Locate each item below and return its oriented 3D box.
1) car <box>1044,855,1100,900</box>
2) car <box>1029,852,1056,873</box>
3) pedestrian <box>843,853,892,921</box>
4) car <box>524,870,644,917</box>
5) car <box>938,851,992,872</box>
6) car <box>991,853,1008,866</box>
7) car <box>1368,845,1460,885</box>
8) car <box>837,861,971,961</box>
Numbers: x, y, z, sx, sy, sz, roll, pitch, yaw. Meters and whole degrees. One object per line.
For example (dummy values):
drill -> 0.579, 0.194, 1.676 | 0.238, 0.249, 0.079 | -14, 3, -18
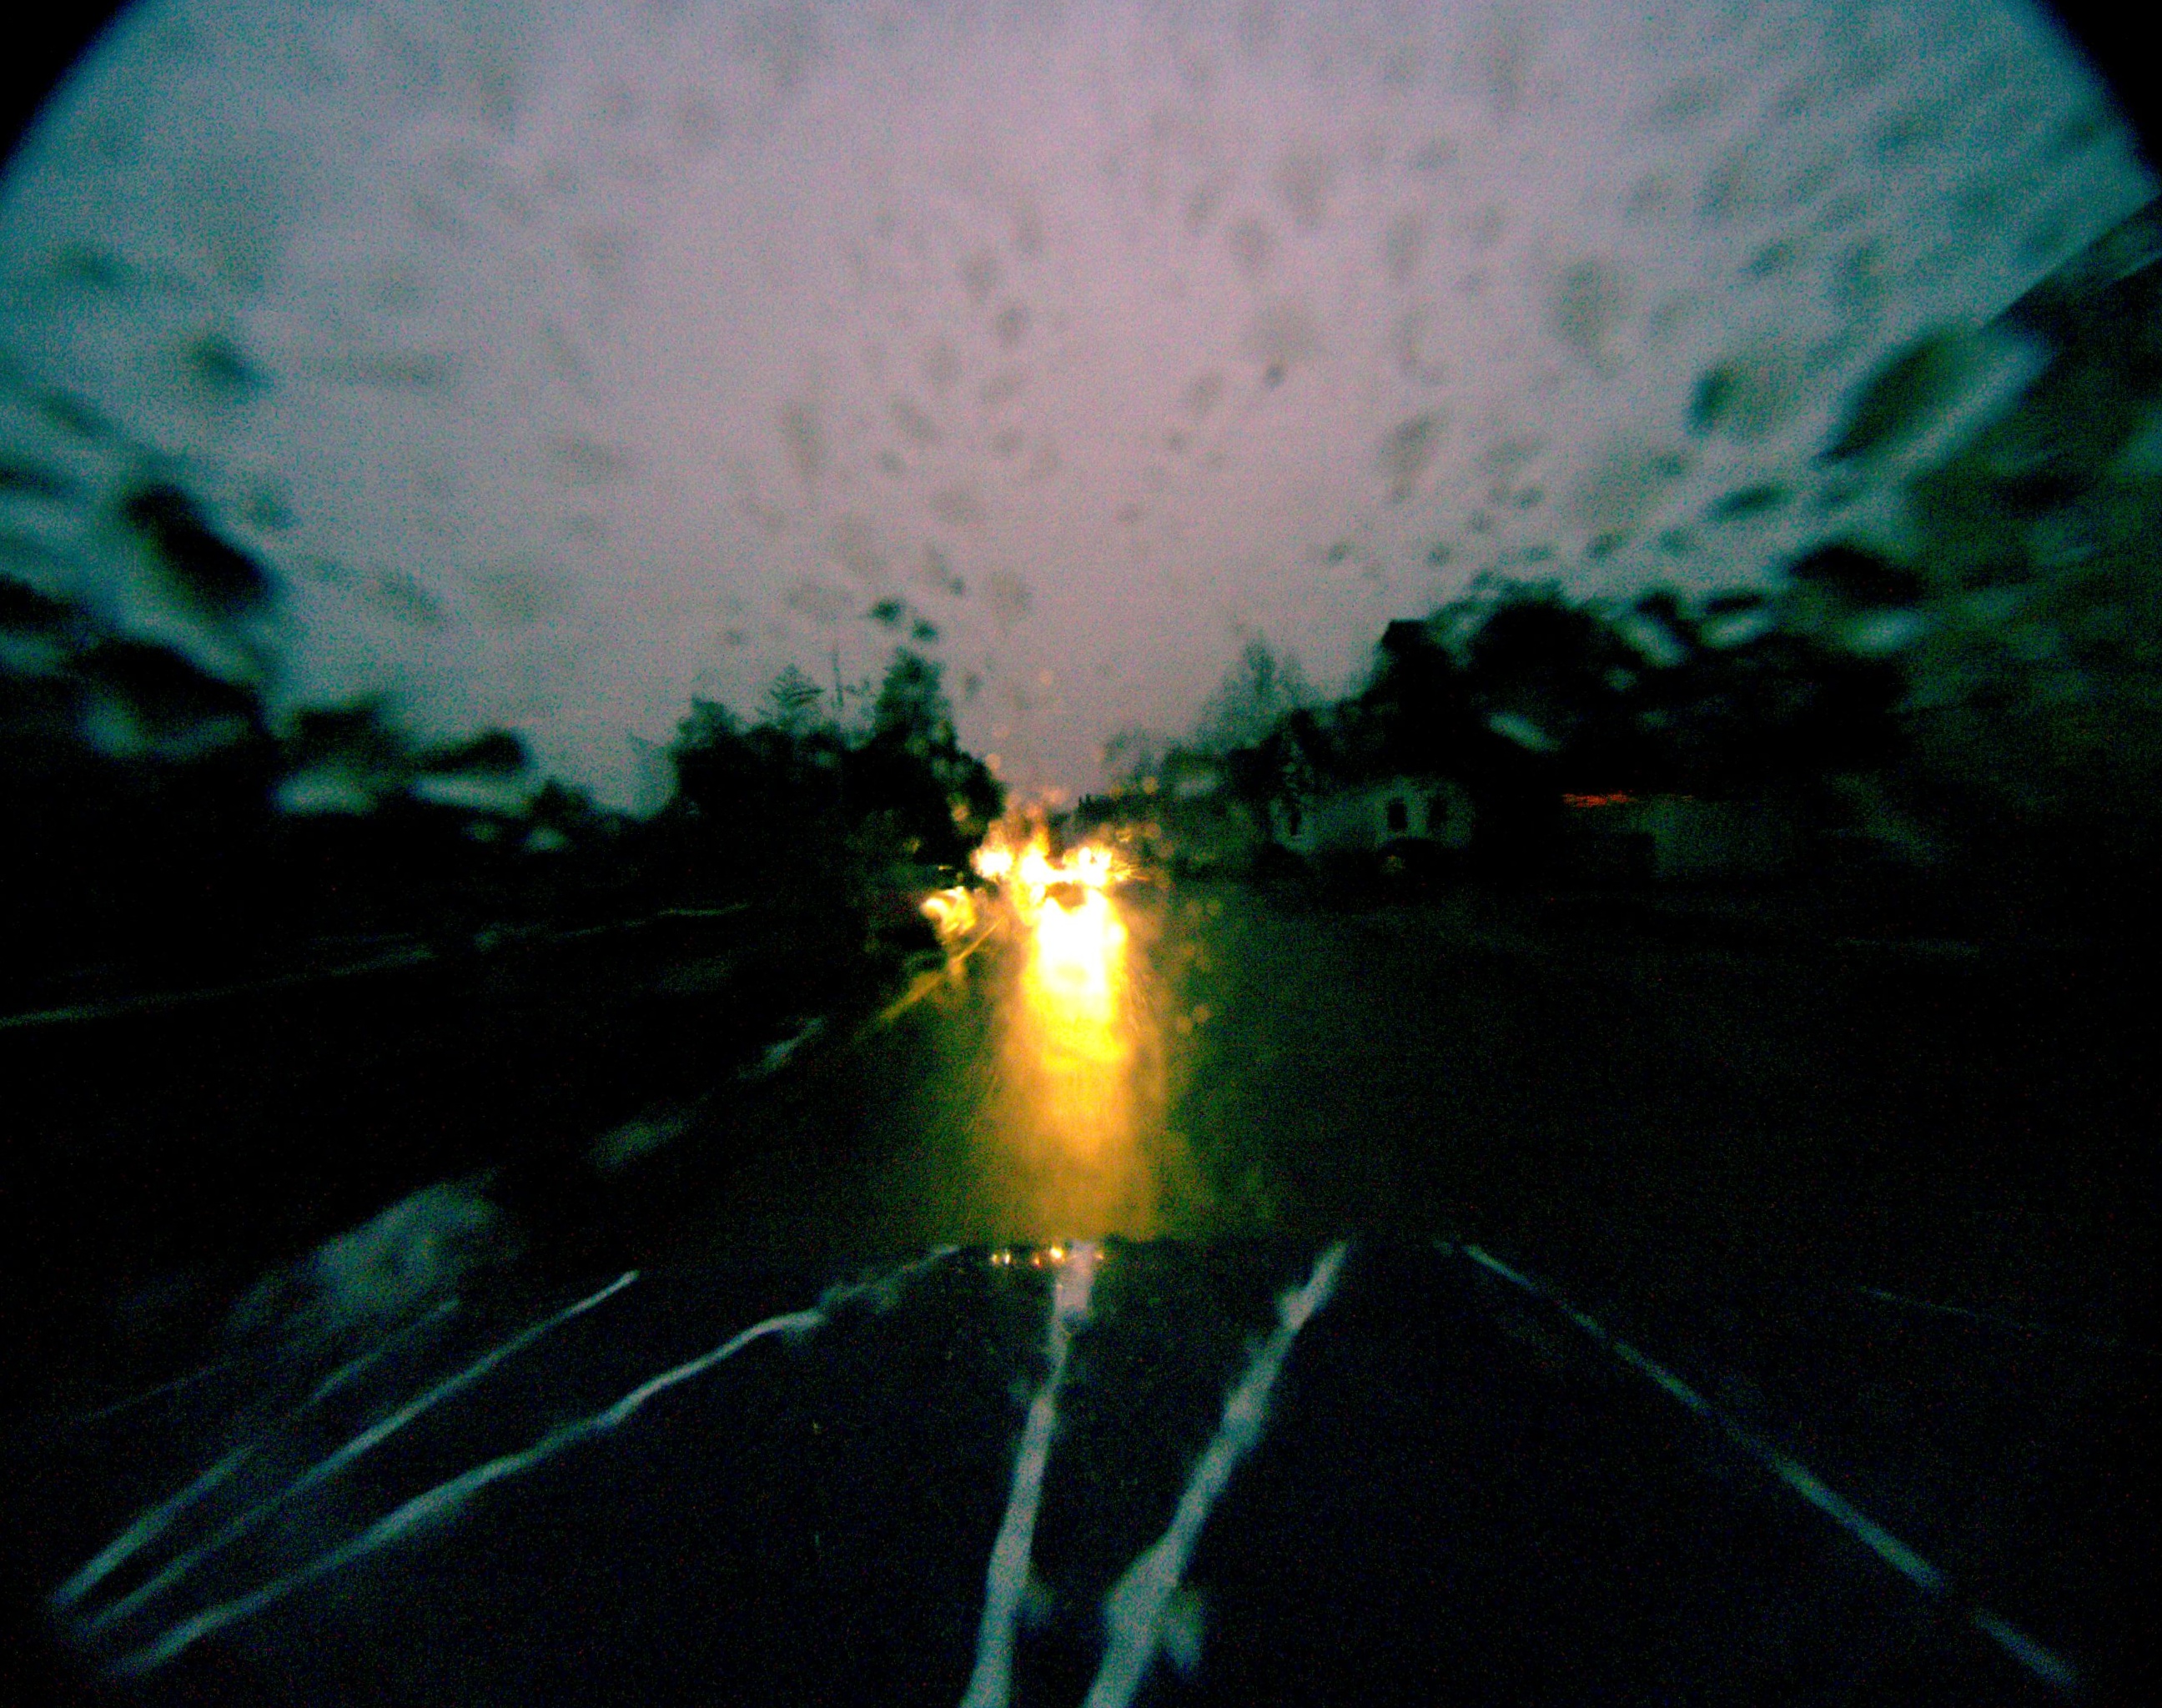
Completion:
car -> -0.363, 0.865, 29.527 | 1.999, 1.575, 3.999 | -1, 0, -1
car -> -3.329, 0.724, 65.248 | 2.000, 1.660, 3.997 | -2, 0, -7
pedestrian -> -5.545, 0.830, 19.835 | 0.990, 1.732, 1.055 | 0, 1, -1
car -> -17.599, 1.340, 27.149 | 1.810, 1.367, 3.998 | -2, 1, -4
car -> -9.783, 0.641, 63.991 | 4.338, 1.722, 1.998 | 1, 0, -12
car -> -10.422, 0.664, 96.906 | 1.777, 1.609, 3.868 | -3, 1, -11
car -> 12.817, 0.363, 29.542 | 1.786, 1.358, 3.999 | -3, 1, 0
car -> -3.146, 0.954, 14.110 | 1.653, 1.531, 3.390 | 2, 1, 0
